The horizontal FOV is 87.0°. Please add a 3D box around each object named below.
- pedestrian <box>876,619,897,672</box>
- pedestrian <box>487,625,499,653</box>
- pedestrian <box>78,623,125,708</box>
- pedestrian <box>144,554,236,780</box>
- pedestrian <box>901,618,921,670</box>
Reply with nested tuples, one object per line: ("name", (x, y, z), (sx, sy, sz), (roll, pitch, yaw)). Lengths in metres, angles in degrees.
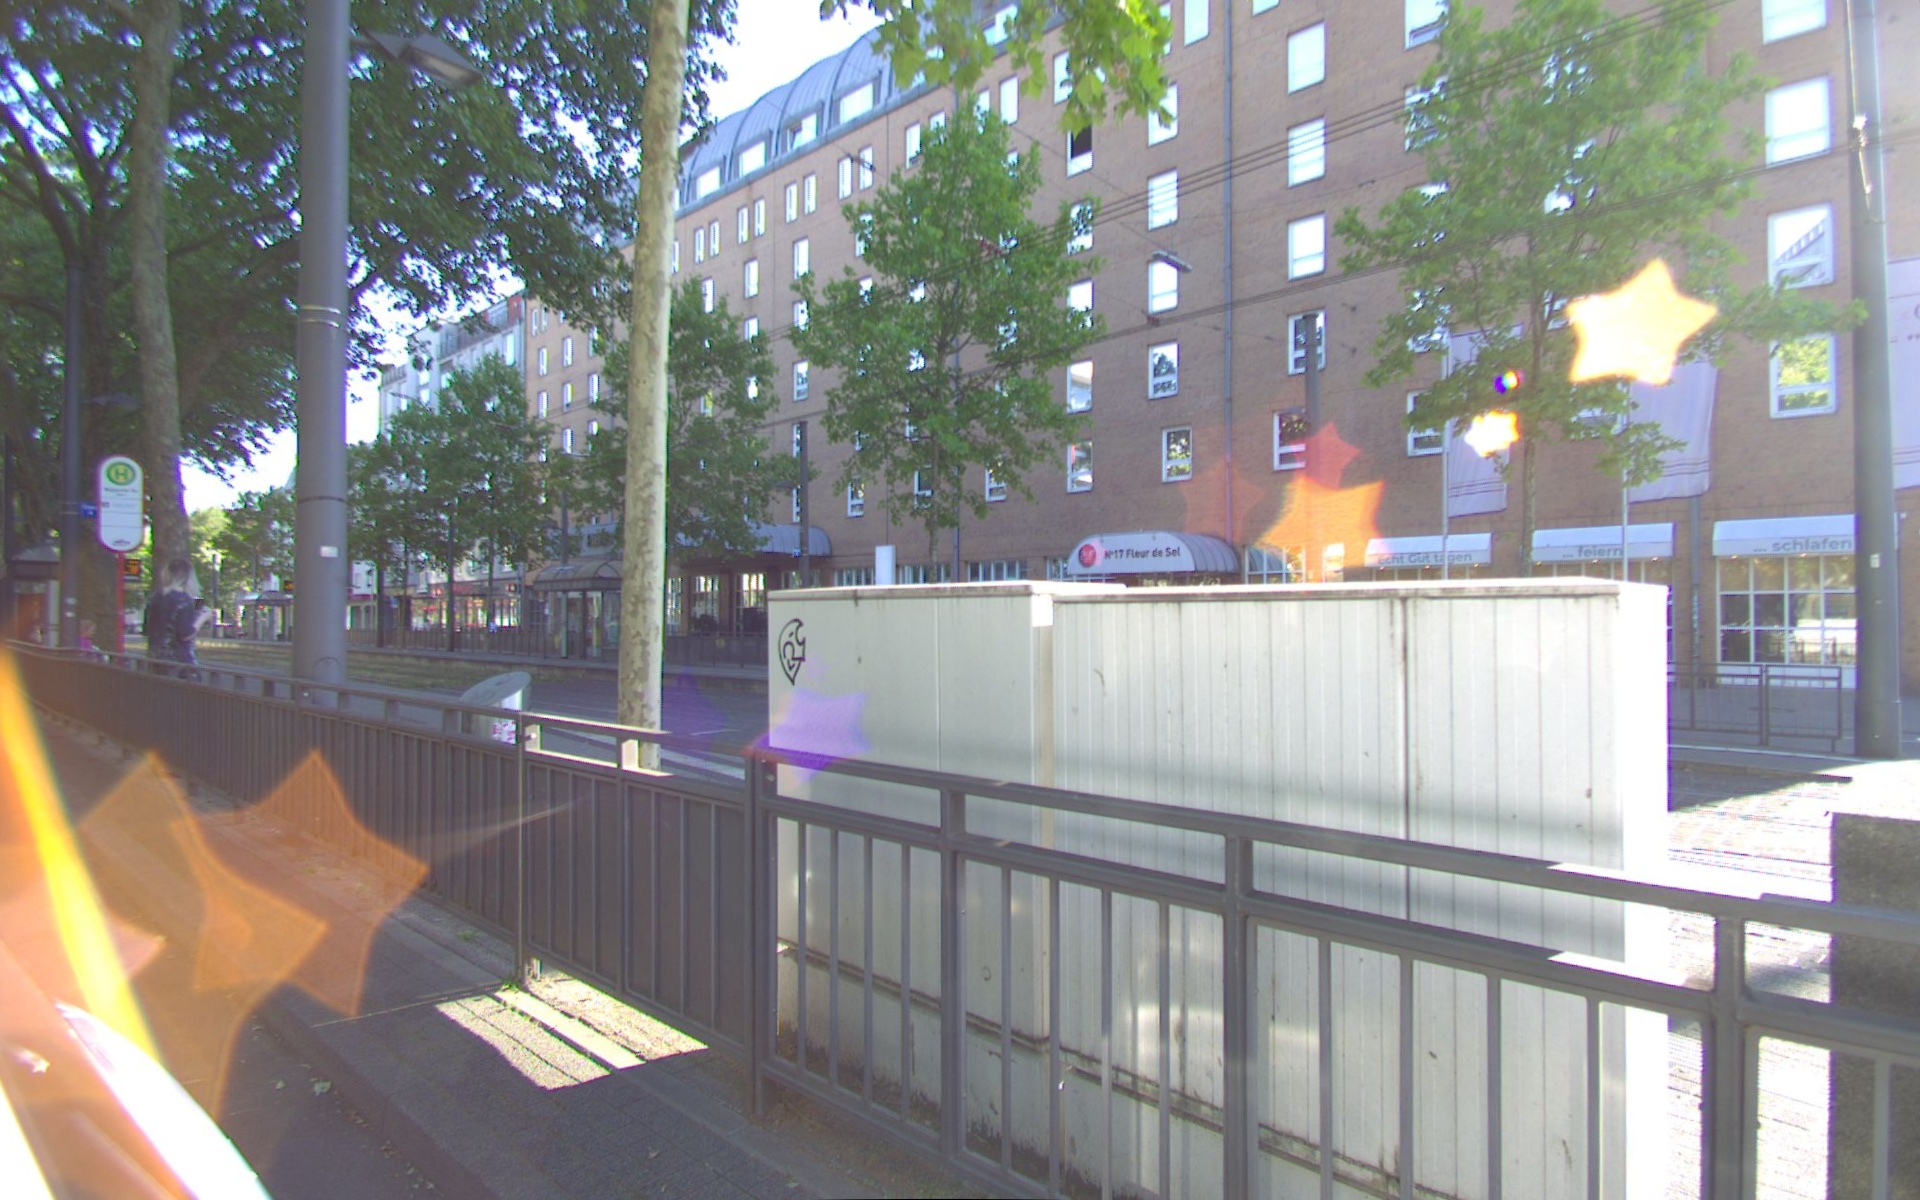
("pedestrian", (-2.467, 1.514, 33.955), (0.472, 1.748, 0.545), (1, -2, -42))
("pedestrian", (-29.423, 2.463, 63.809), (0.574, 1.748, 0.497), (-2, -2, 43))
("pedestrian", (-13.881, 1.040, 16.378), (0.534, 1.327, 0.525), (-1, 0, -37))
("pedestrian", (-6.593, 0.549, 8.668), (0.524, 1.848, 0.535), (-1, 0, 44))
("pedestrian", (-1.688, 1.508, 34.561), (0.437, 1.748, 0.545), (1, -2, -42))
